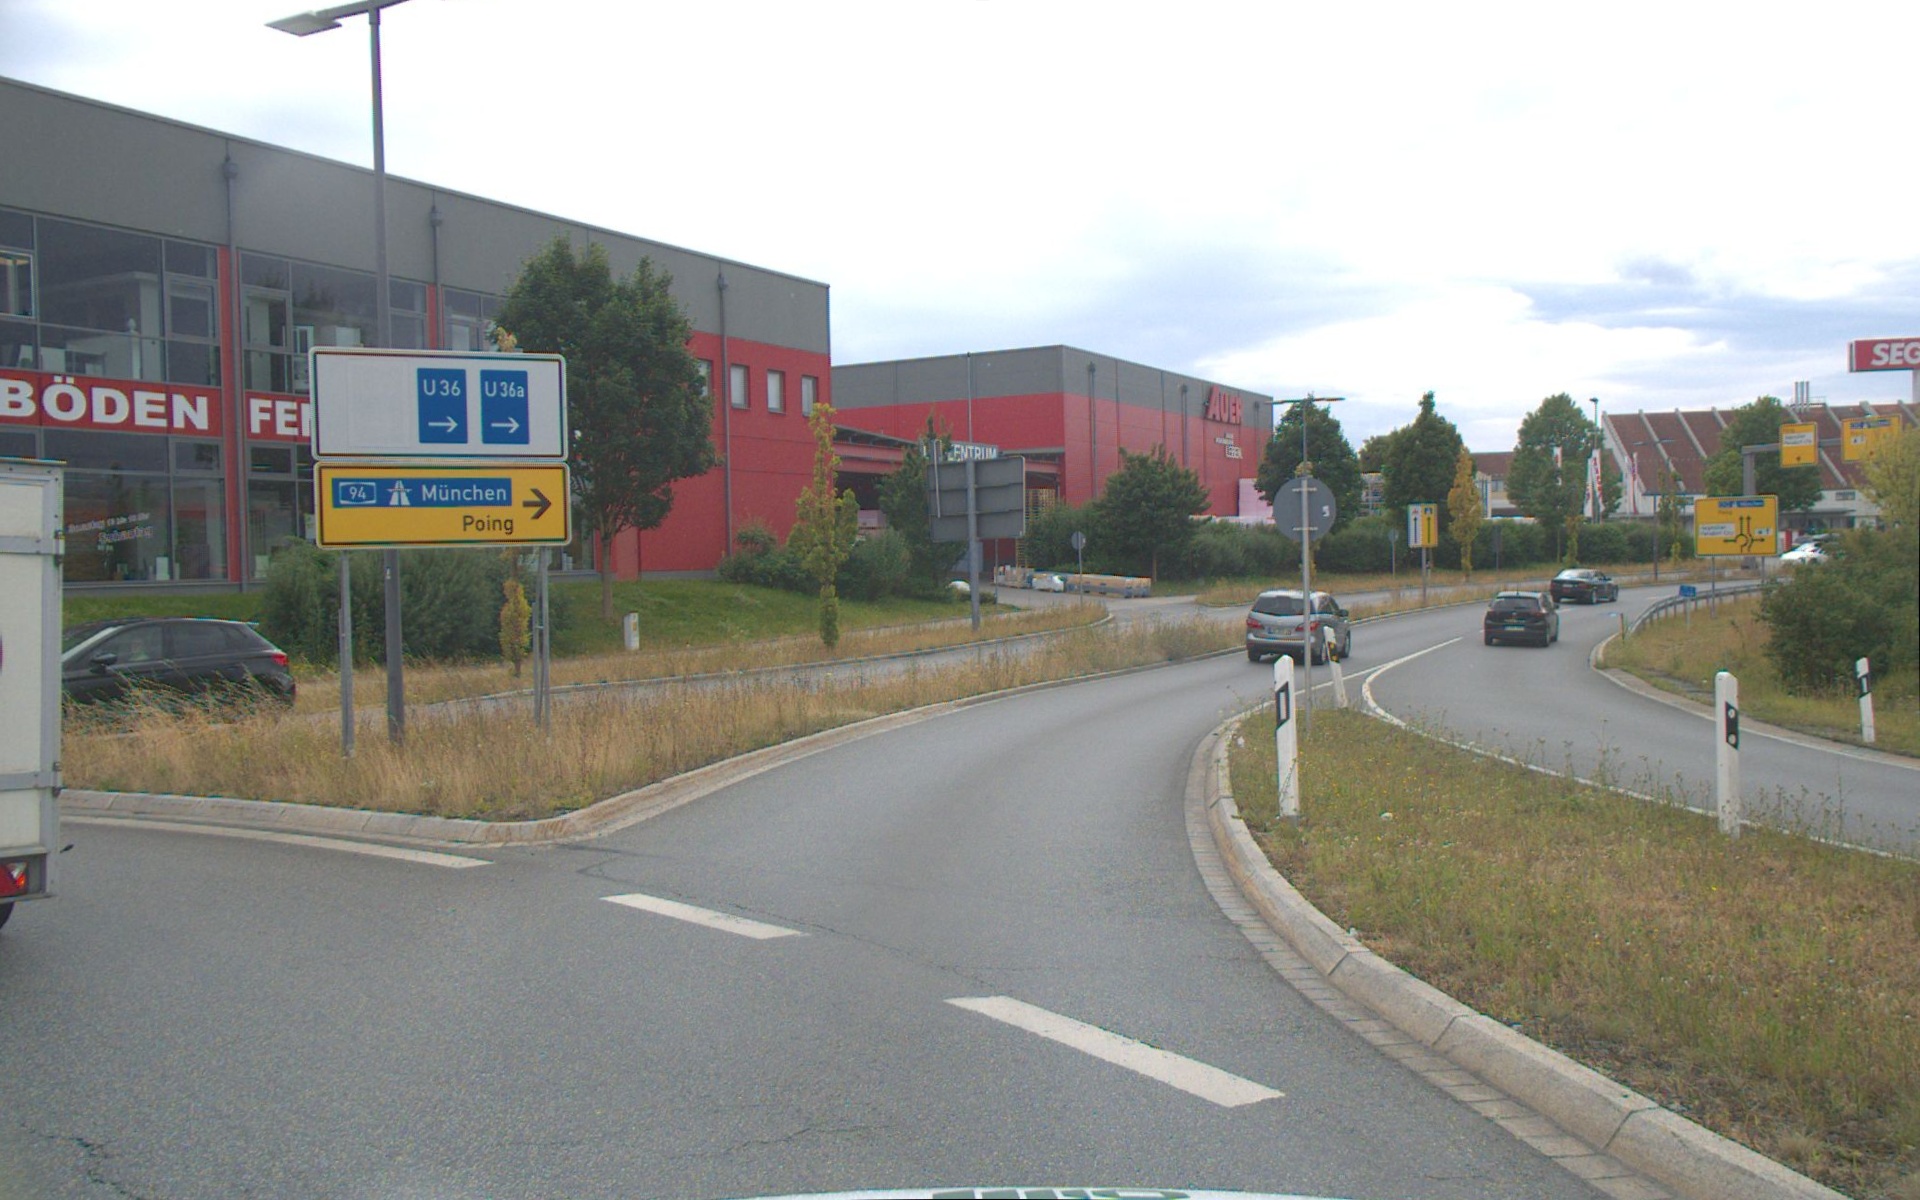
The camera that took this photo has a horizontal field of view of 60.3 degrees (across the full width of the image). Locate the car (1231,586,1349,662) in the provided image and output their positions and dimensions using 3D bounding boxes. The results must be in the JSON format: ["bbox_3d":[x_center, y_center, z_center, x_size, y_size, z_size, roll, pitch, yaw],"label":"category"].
[{"bbox_3d":[7.678,0.511,38.206,1.732,1.645,3.918,0,1,26],"label":"car"}]

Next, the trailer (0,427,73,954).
[{"bbox_3d":[-5.823,0.375,7.496,4.068,2.128,1.803,0,1,40],"label":"trailer"}]

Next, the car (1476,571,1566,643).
[{"bbox_3d":[15.625,0.177,45.955,1.833,1.632,3.733,-3,3,27],"label":"car"}]

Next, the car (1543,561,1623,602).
[{"bbox_3d":[25.364,-0.757,67.236,1.877,1.646,3.980,0,1,40],"label":"car"}]

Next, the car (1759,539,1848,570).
[{"bbox_3d":[48.658,-2.606,95.393,4.552,1.654,1.906,0,4,-19],"label":"car"}]

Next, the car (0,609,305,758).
[{"bbox_3d":[-9.774,0.894,19.207,1.613,1.484,3.753,0,1,36],"label":"car"}]
